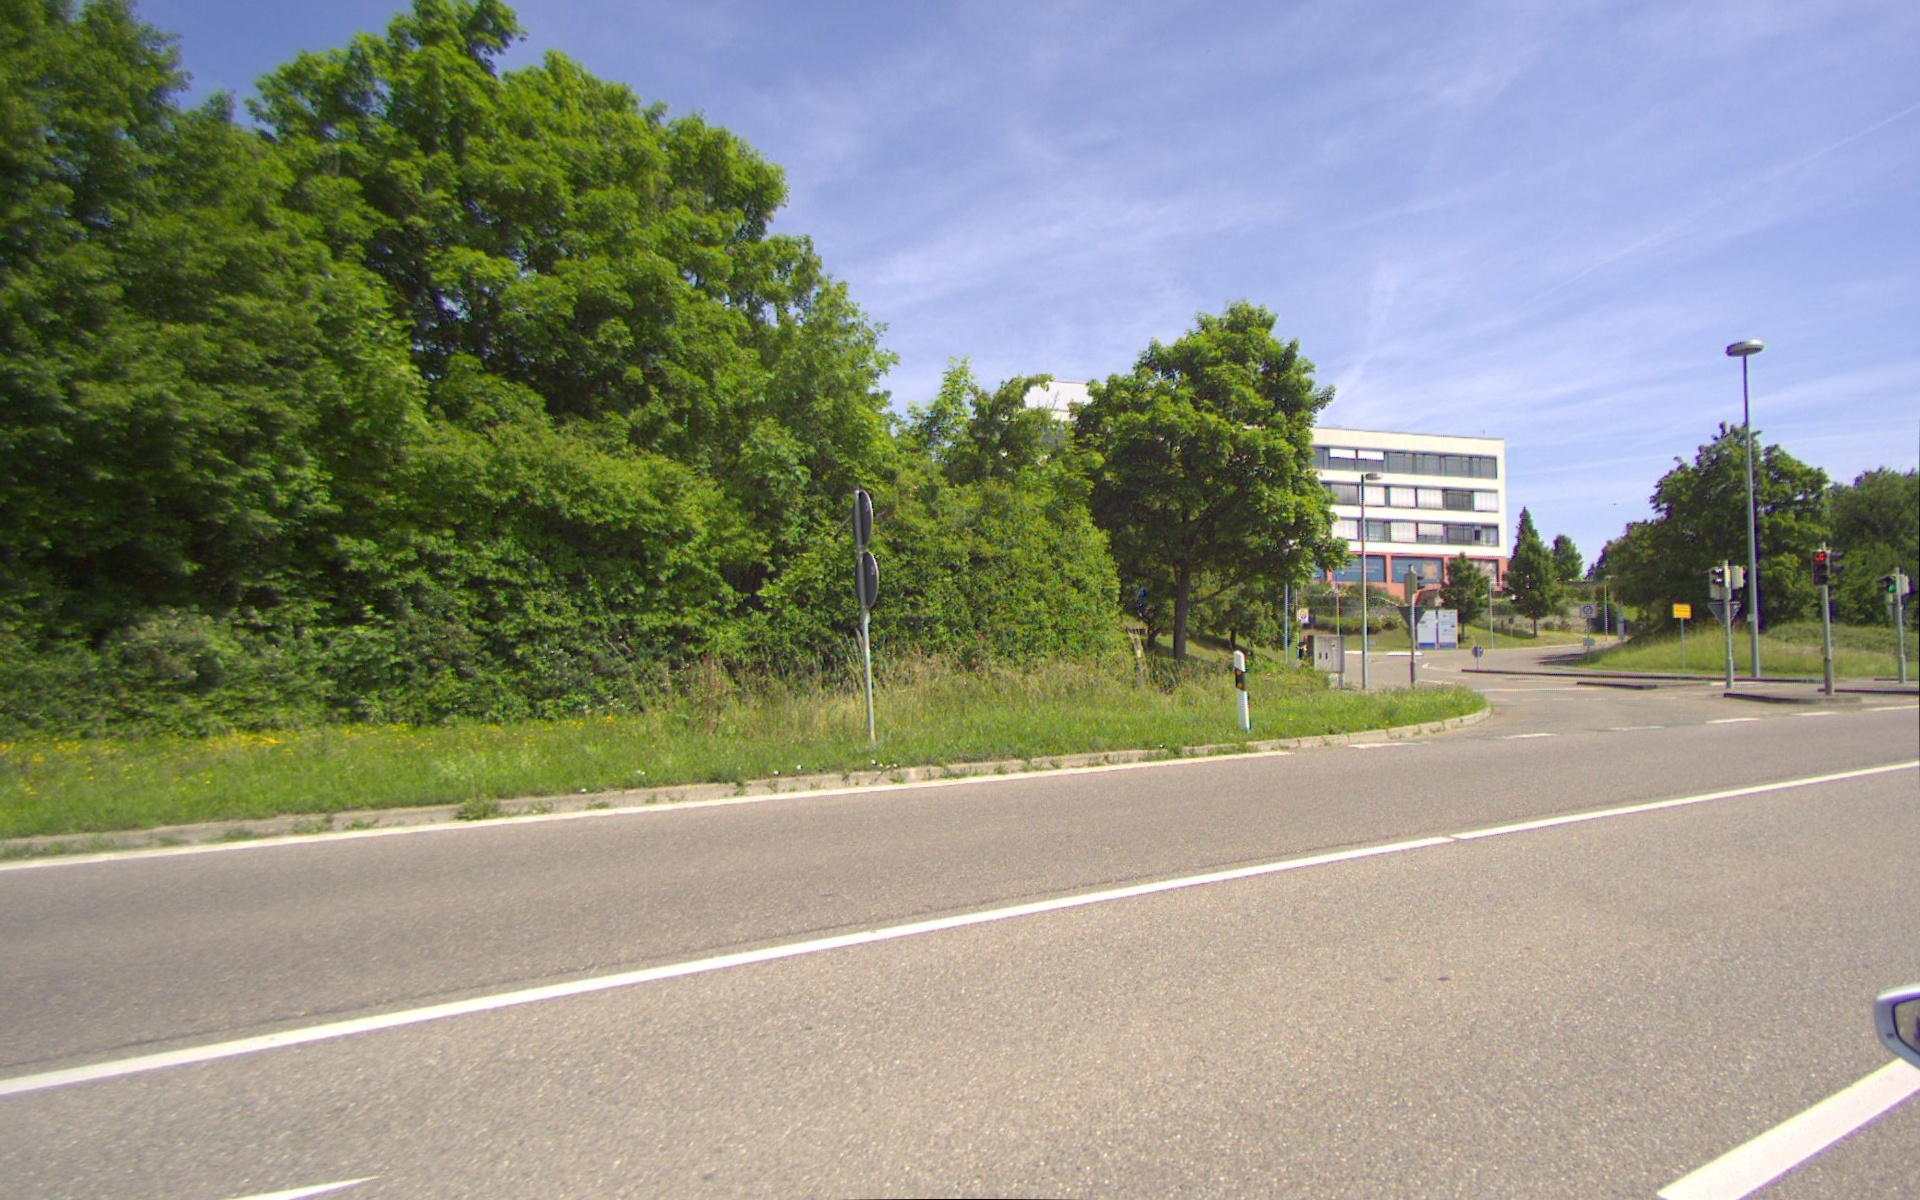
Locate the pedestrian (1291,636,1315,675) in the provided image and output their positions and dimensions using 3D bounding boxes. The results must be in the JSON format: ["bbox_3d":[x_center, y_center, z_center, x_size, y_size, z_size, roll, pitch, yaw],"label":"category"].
[{"bbox_3d":[15.740,2.549,46.111,0.881,1.759,0.923,0,-1,9],"label":"pedestrian"}]
